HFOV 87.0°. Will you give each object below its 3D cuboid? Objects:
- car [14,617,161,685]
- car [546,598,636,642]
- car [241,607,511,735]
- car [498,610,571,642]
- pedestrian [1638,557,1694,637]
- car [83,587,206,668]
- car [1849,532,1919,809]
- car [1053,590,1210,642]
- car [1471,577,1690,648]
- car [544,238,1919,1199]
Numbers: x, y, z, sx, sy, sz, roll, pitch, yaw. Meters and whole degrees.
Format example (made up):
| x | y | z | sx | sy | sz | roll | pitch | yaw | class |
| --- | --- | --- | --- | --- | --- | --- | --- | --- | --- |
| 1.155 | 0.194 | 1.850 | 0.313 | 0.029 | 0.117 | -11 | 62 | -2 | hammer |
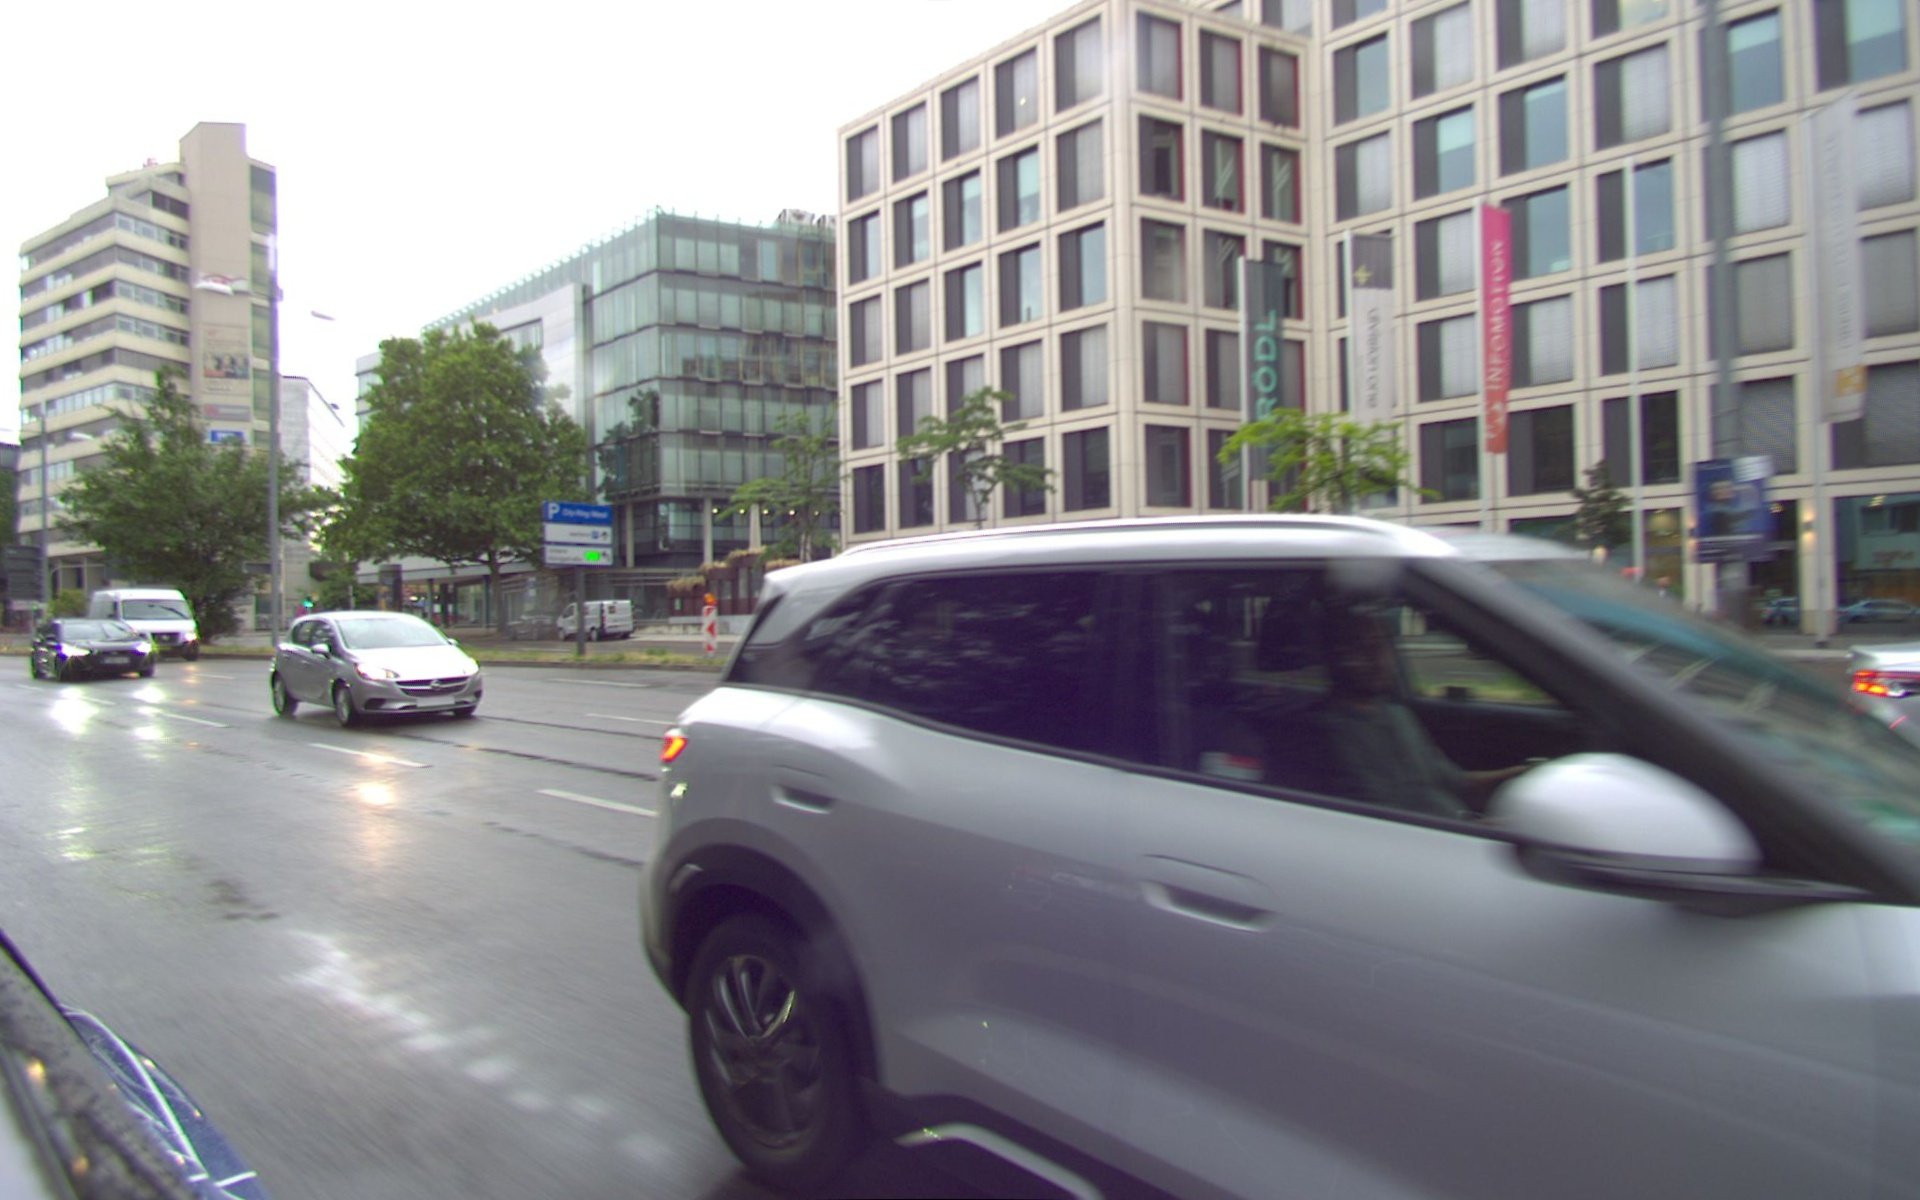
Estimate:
| x | y | z | sx | sy | sz | roll | pitch | yaw | class |
| --- | --- | --- | --- | --- | --- | --- | --- | --- | --- |
| -21.370 | 1.179 | 24.737 | 4.235 | 1.412 | 1.882 | 0 | 2 | 38 | car |
| -18.563 | 0.960 | 50.865 | 4.911 | 2.028 | 1.974 | 0 | 2 | 39 | car |
| -8.295 | 0.879 | 14.258 | 4.119 | 1.490 | 1.754 | 0 | 2 | 36 | car |
| -22.715 | 1.346 | 54.011 | 4.282 | 1.540 | 1.780 | 0 | 2 | 39 | car |
| 15.808 | -0.081 | 22.672 | 0.966 | 1.747 | 0.606 | 0 | 2 | 41 | pedestrian |
| -27.146 | 0.823 | 33.622 | 5.718 | 2.403 | 2.230 | 0 | 2 | 42 | car |
| 7.519 | 0.357 | 4.885 | 4.798 | 1.532 | 1.812 | 0 | 2 | 41 | car |
| 5.019 | 0.455 | 29.992 | 4.370 | 1.434 | 1.680 | -1 | -1 | 40 | car |
| 13.683 | 0.269 | 22.428 | 3.952 | 1.434 | 1.680 | -1 | -1 | 40 | car |
| 1.021 | 0.434 | 2.207 | 4.167 | 1.673 | 1.790 | 0 | 2 | 40 | car |
